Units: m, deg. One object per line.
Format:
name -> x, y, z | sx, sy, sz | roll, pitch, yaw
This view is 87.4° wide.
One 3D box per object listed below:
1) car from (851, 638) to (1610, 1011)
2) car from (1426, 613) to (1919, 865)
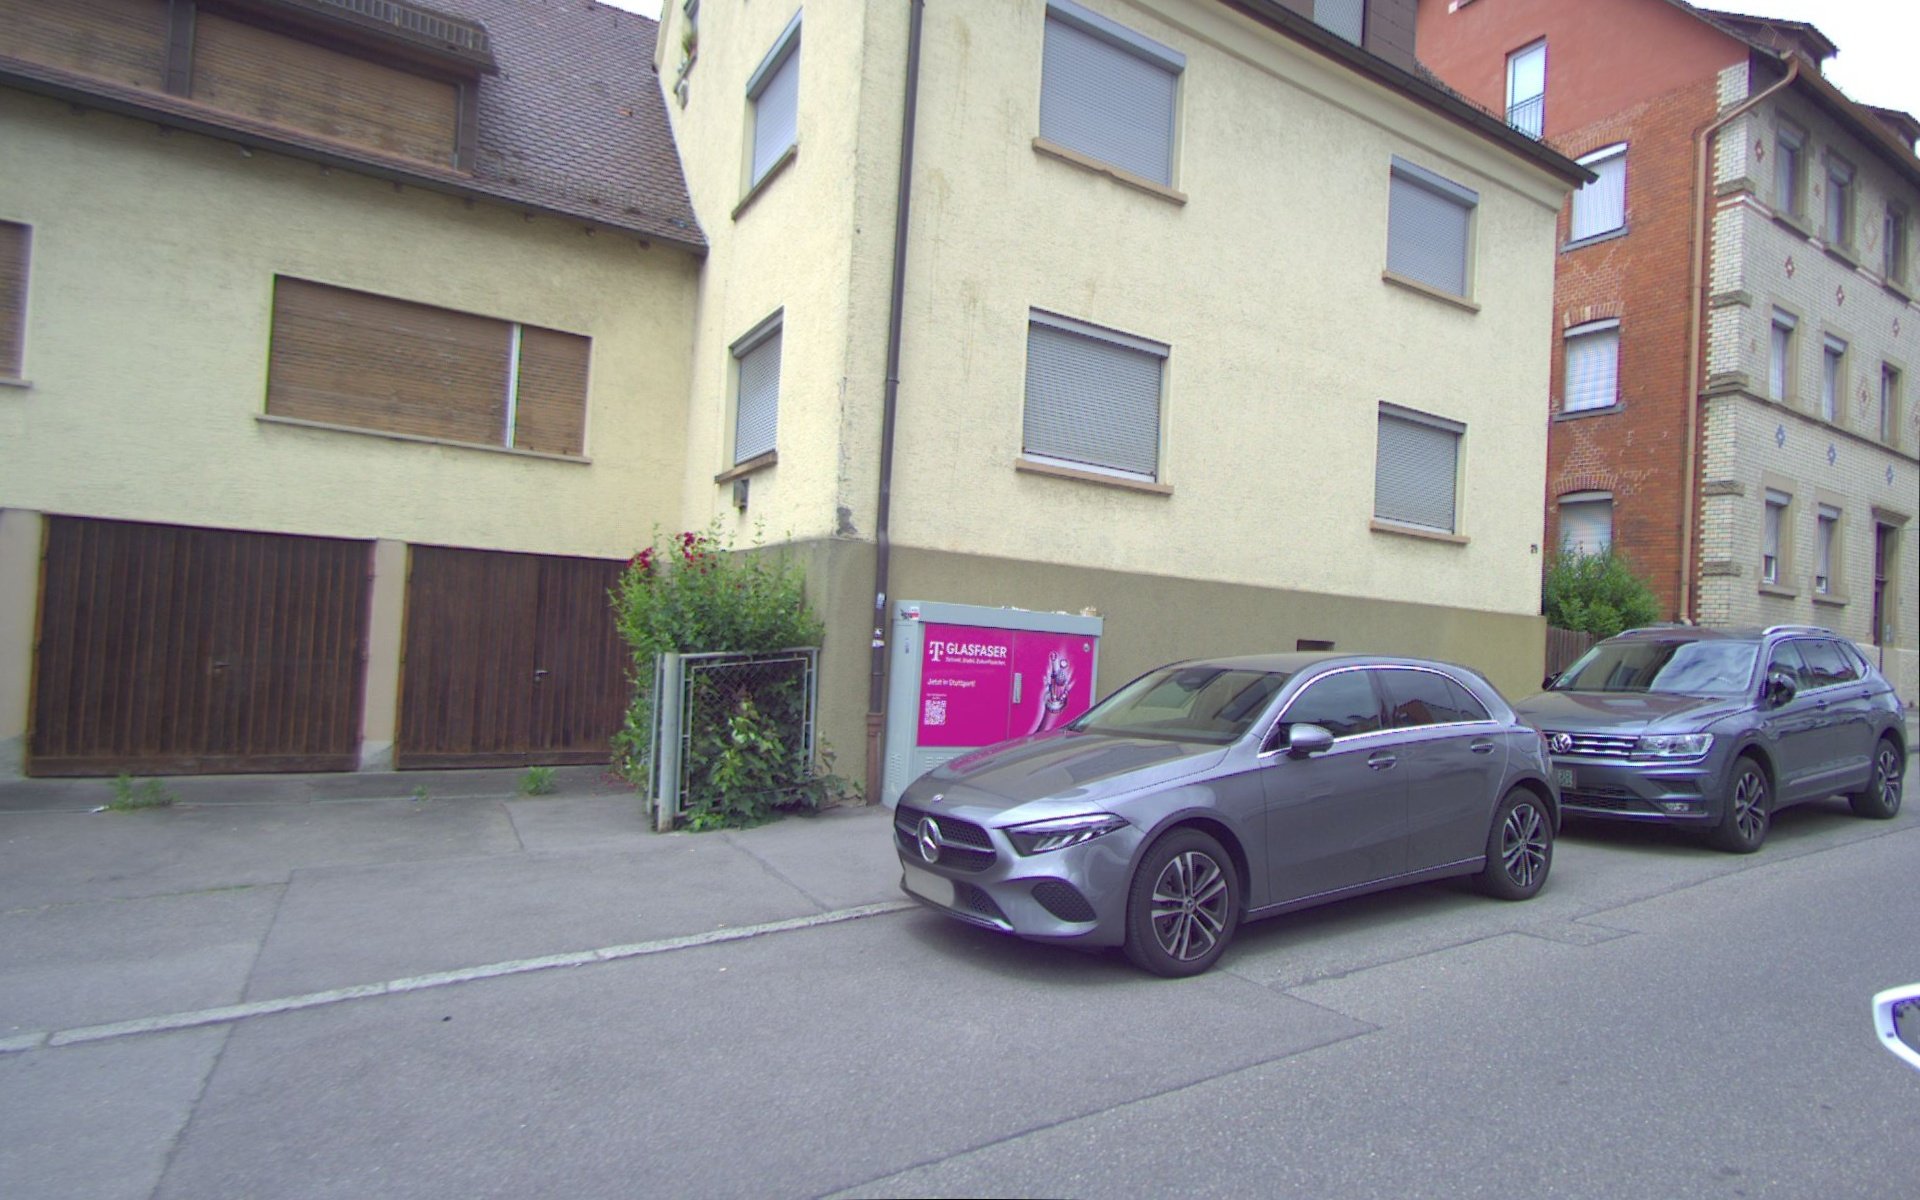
car -> 1.668, 1.006, 5.985 | 4.193, 1.491, 1.985 | 1, -4, -30
car -> 6.350, 1.035, 8.760 | 4.503, 1.672, 1.984 | 2, -4, -32
